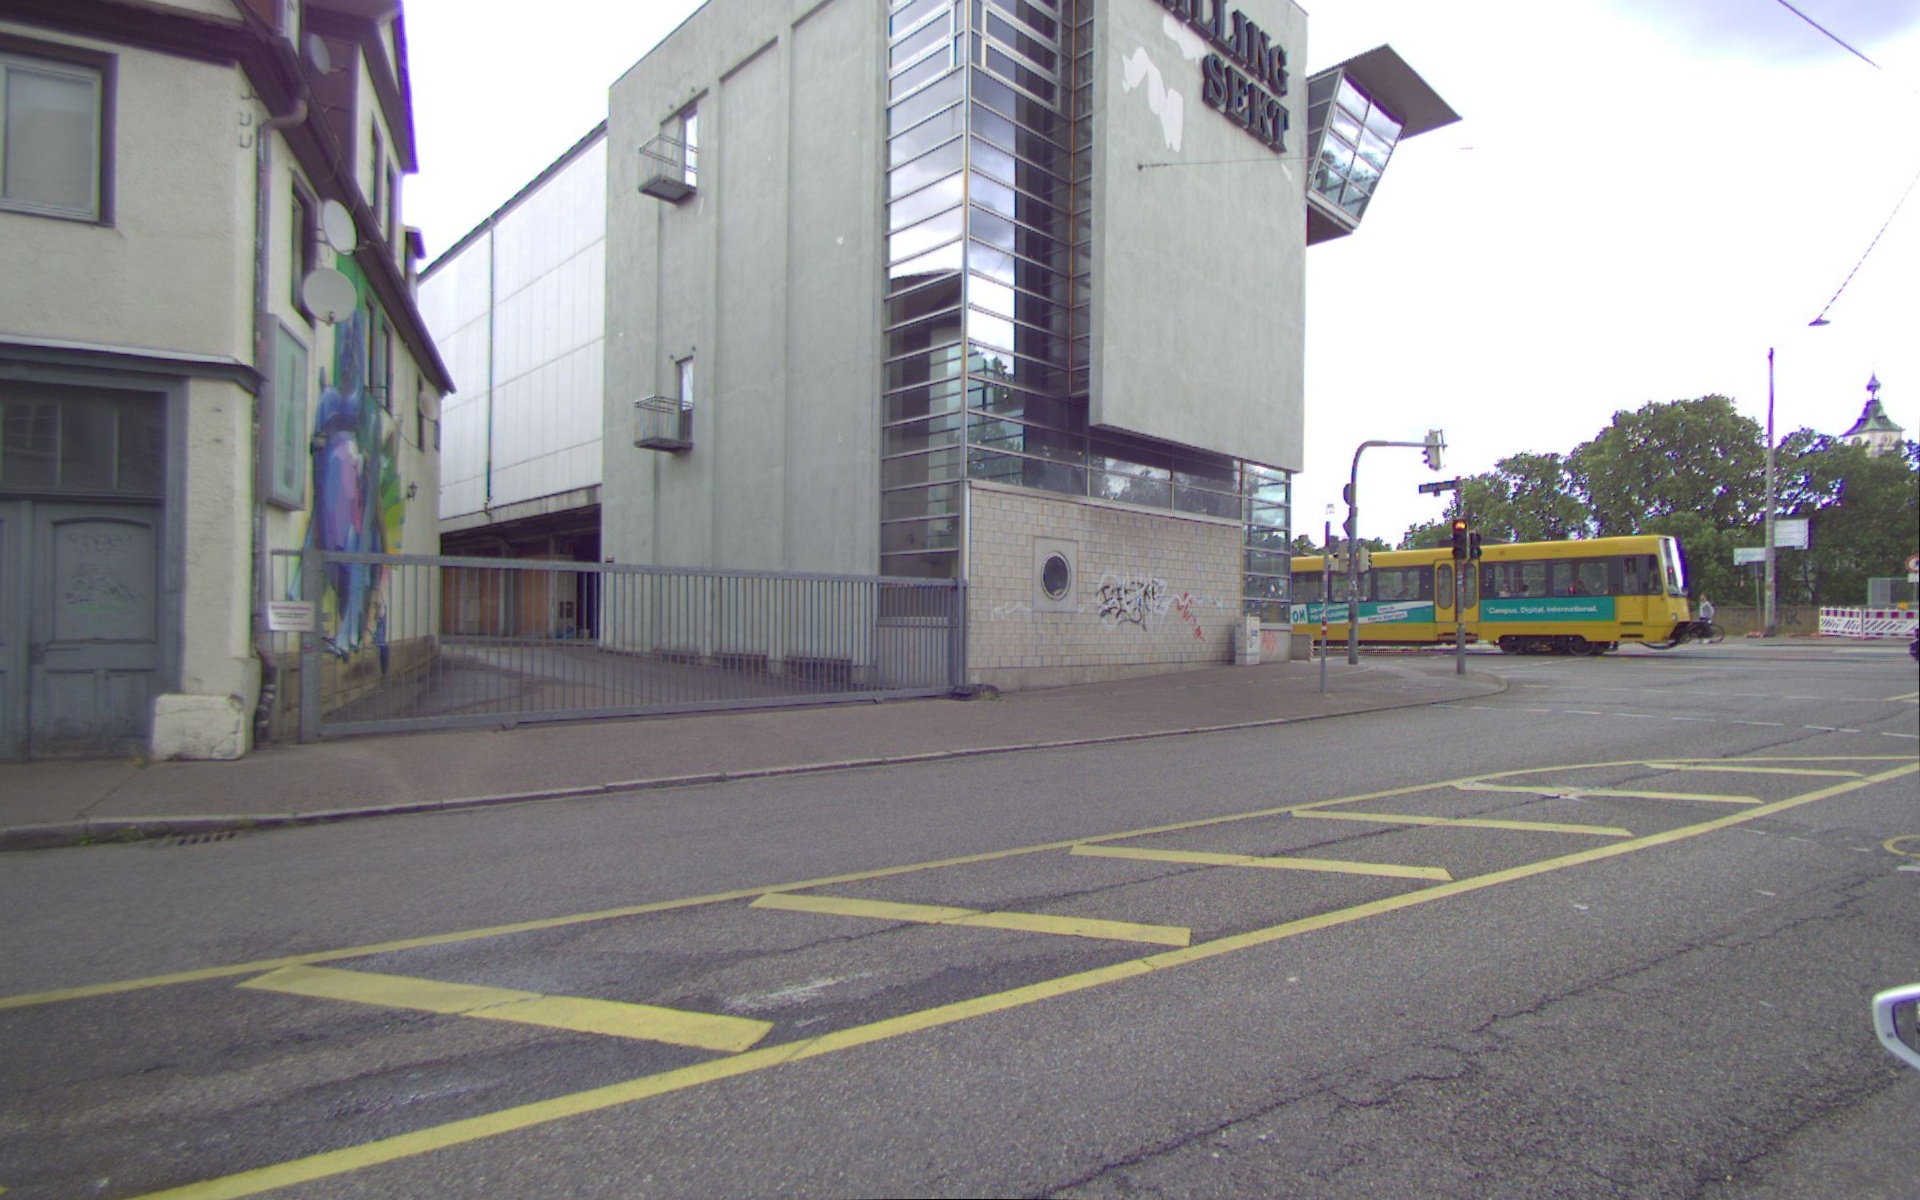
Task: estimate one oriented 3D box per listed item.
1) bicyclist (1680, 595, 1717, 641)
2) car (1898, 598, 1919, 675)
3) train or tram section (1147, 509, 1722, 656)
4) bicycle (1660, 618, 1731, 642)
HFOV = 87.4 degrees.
[{"bbox_3d":[28.593,0.696,38.913,0.985,1.767,0.755,0,0,22],"label":"bicyclist"},{"bbox_3d":[21.781,0.702,19.979,1.851,1.595,4.247,-1,-1,-34],"label":"car"},{"bbox_3d":[15.230,-0.235,35.720,3.241,4.056,18.598,-2,0,-42],"label":"train or tram section"},{"bbox_3d":[28.489,1.145,38.957,2.096,0.904,0.760,-1,0,21],"label":"bicycle"}]
